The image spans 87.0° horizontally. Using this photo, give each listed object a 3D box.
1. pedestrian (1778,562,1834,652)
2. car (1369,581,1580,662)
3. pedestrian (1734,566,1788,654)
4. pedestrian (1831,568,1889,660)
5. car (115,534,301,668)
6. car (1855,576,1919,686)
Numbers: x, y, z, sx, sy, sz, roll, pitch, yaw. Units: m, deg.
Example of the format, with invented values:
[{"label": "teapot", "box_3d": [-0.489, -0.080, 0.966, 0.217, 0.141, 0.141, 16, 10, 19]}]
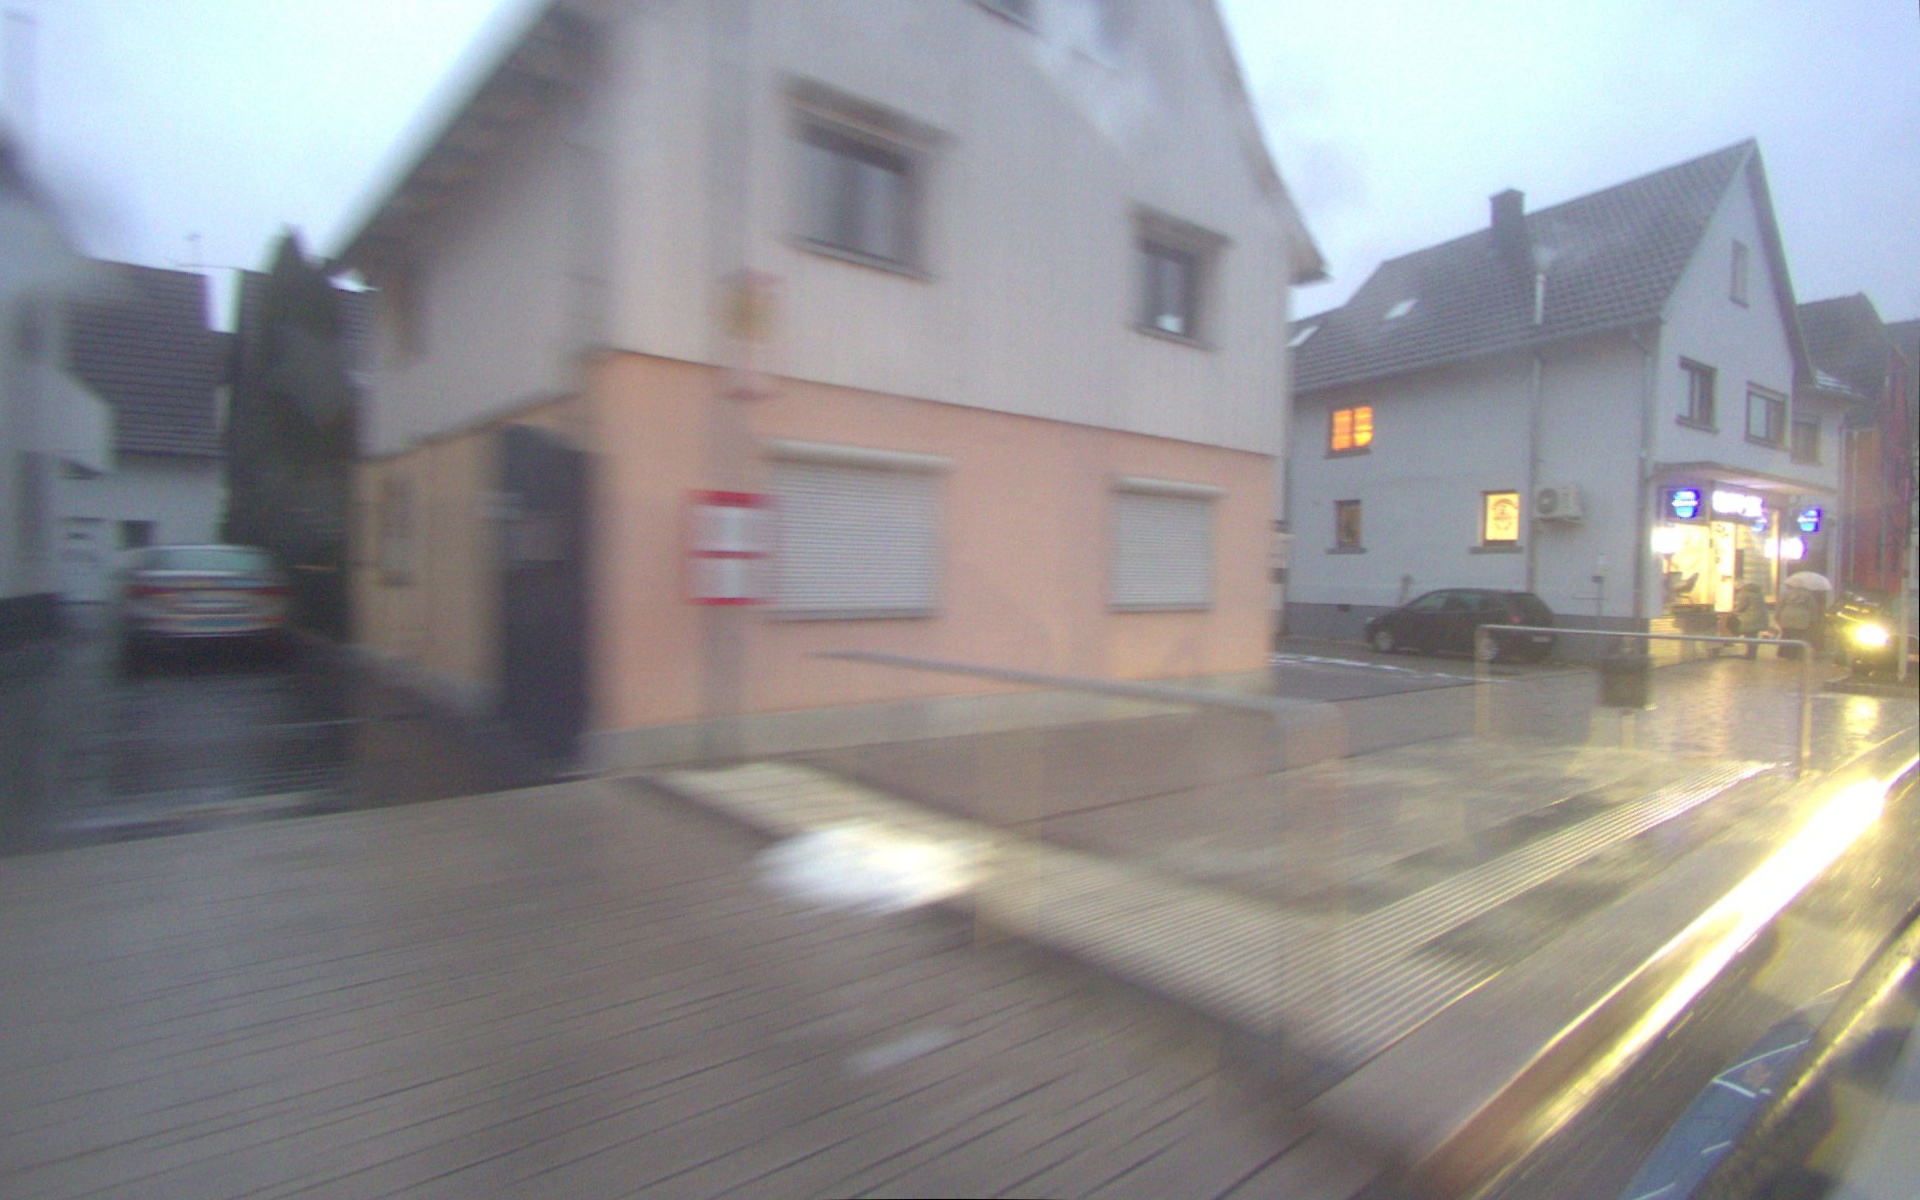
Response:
[{"label": "pedestrian", "box_3d": [17.554, 0.143, 21.005, 0.498, 1.819, 0.652, 2, 2, -28]}, {"label": "car", "box_3d": [10.538, 0.380, 20.972, 1.626, 1.403, 3.568, 1, 2, -27]}, {"label": "pedestrian", "box_3d": [16.348, 0.201, 20.656, 0.638, 1.742, 0.610, 2, 2, -34]}, {"label": "pedestrian", "box_3d": [17.662, 0.268, 19.862, 0.459, 1.742, 0.651, 2, 2, -33]}, {"label": "car", "box_3d": [-9.546, -0.086, 12.765, 1.631, 1.410, 3.997, 1, 2, -39]}, {"label": "car", "box_3d": [17.789, 0.536, 18.115, 4.439, 1.806, 1.998, 0, 2, -40]}]
